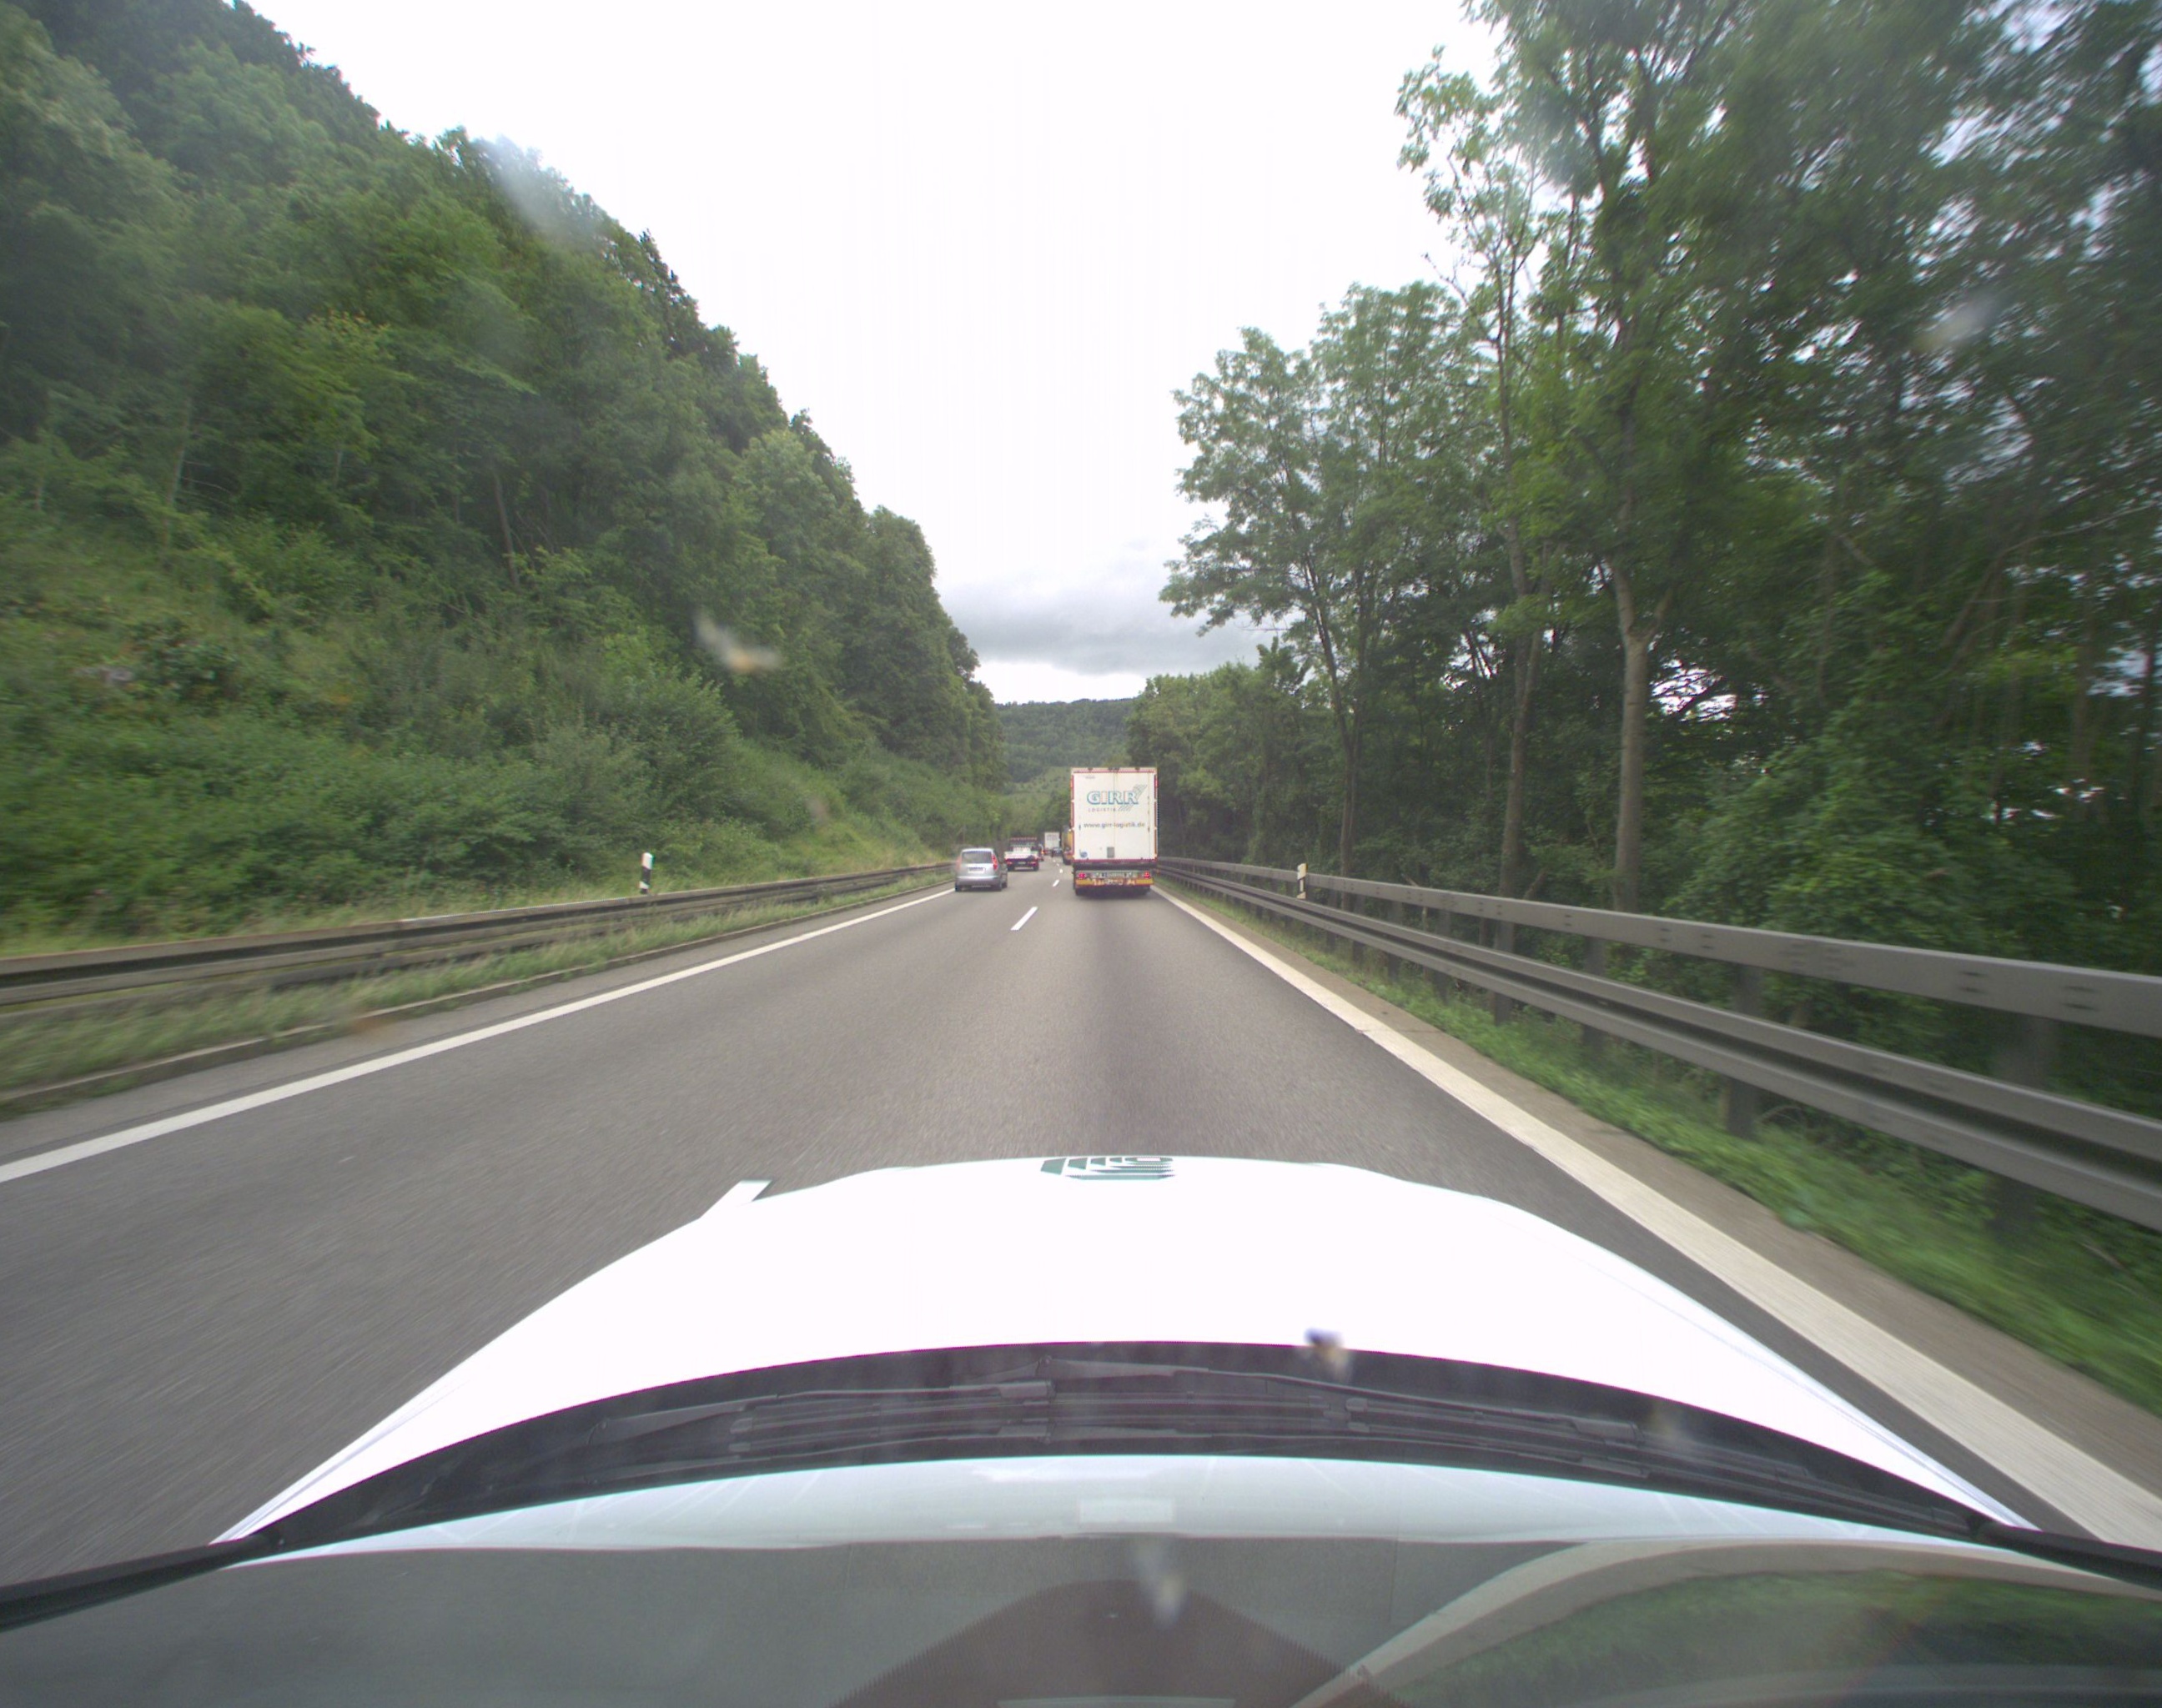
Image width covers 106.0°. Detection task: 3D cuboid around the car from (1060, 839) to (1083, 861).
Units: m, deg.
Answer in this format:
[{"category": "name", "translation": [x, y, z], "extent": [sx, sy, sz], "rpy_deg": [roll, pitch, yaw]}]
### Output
[{"category": "car", "translation": [-0.940, -0.363, 79.911], "extent": [1.990, 2.013, 4.327], "rpy_deg": [1, 0, -4]}]

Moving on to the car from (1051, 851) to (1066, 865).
[{"category": "car", "translation": [-3.187, 0.574, 115.667], "extent": [1.988, 2.013, 3.997], "rpy_deg": [1, 0, -2]}]

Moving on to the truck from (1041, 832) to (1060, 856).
[{"category": "truck", "translation": [-5.291, -1.722, 140.425], "extent": [3.063, 3.877, 8.446], "rpy_deg": [1, 0, -4]}]

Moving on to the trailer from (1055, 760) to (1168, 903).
[{"category": "trailer", "translation": [0.906, -0.705, 28.586], "extent": [3.123, 4.042, 9.438], "rpy_deg": [3, 0, 0]}]

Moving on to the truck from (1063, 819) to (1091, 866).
[{"category": "truck", "translation": [-0.285, -0.956, 71.471], "extent": [2.226, 3.804, 6.823], "rpy_deg": [1, 0, 1]}]

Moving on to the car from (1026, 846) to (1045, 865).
[{"category": "car", "translation": [-5.102, 0.131, 90.545], "extent": [2.014, 1.914, 5.556], "rpy_deg": [1, 0, -4]}]

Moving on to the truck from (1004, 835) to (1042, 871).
[{"category": "truck", "translation": [-3.919, -0.099, 55.891], "extent": [2.343, 2.274, 6.843], "rpy_deg": [1, 0, -2]}]

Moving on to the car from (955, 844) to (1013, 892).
[{"category": "car", "translation": [-3.664, 0.493, 31.351], "extent": [1.628, 1.726, 4.345], "rpy_deg": [0, 0, 1]}]
